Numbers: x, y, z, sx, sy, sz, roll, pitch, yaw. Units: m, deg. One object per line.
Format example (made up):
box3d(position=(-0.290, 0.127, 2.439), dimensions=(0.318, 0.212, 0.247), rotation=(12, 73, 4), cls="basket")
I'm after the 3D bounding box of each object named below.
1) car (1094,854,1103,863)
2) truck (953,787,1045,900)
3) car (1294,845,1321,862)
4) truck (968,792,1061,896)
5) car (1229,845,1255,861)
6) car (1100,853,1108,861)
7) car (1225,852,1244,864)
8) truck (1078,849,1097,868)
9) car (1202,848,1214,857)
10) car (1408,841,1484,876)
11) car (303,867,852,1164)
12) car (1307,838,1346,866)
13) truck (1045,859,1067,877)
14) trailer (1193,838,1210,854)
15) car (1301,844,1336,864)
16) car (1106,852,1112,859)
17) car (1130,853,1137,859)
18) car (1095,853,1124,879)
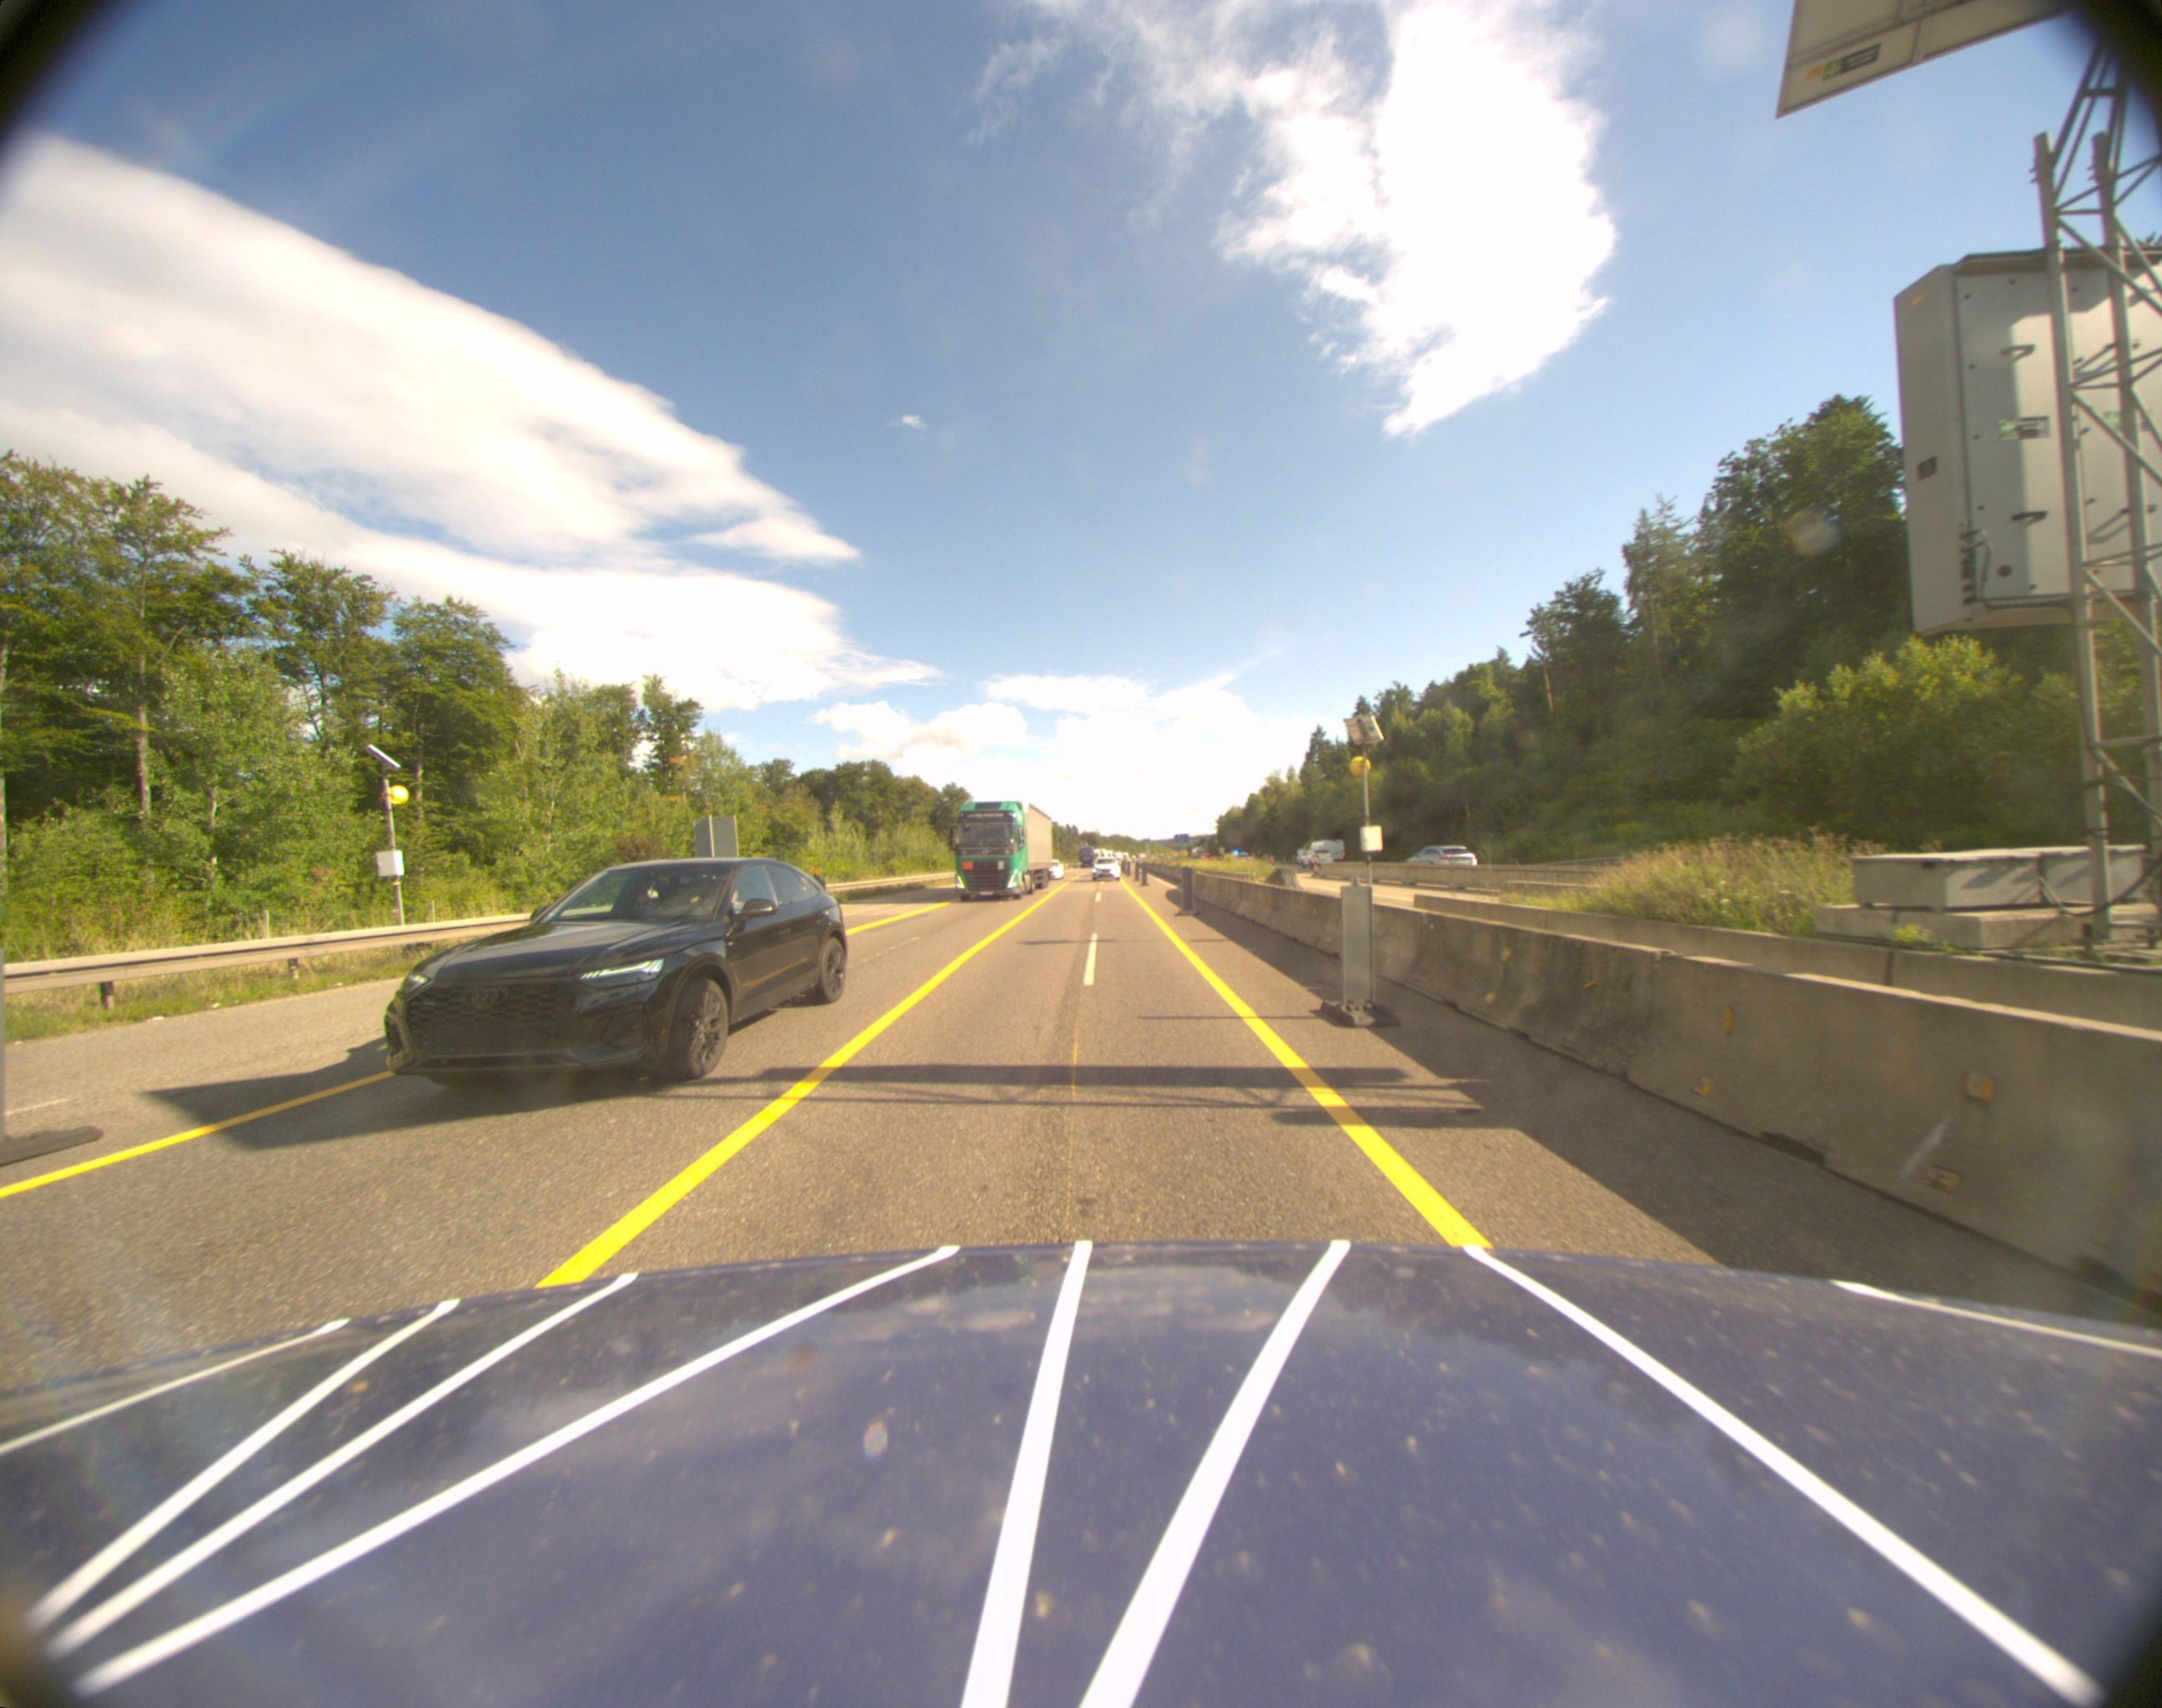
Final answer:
box3d(position=(3.785, 0.963, 164.516), dimensions=(1.750, 1.787, 4.000), rotation=(-2, 0, 3), cls="car")
box3d(position=(-3.185, -0.400, 31.321), dimensions=(2.527, 4.075, 6.857), rotation=(-2, 0, 3), cls="truck")
box3d(position=(25.650, -0.104, 86.268), dimensions=(1.865, 1.843, 4.762), rotation=(-2, 0, 3), cls="car")
box3d(position=(-2.848, -0.351, 37.680), dimensions=(2.470, 4.119, 14.214), rotation=(-2, 0, 3), cls="truck")
box3d(position=(17.167, -0.145, 81.419), dimensions=(1.782, 1.593, 4.676), rotation=(-2, 0, 0), cls="car")
box3d(position=(5.761, 0.765, 188.111), dimensions=(1.750, 1.787, 4.000), rotation=(-2, 0, 3), cls="car")
box3d(position=(22.775, 0.571, 112.735), dimensions=(1.963, 1.579, 4.482), rotation=(-2, 0, 2), cls="car")
box3d(position=(1.108, 0.708, 132.123), dimensions=(2.576, 3.167, 6.804), rotation=(-2, 0, 6), cls="truck")
box3d(position=(24.864, -0.314, 148.558), dimensions=(1.782, 1.593, 4.018), rotation=(-2, 0, 3), cls="car")
box3d(position=(18.328, 0.183, 38.411), dimensions=(1.782, 1.593, 4.677), rotation=(-2, 0, 3), cls="car")
box3d(position=(-3.600, 0.989, 6.605), dimensions=(1.782, 1.593, 4.294), rotation=(-2, 0, 1), cls="car")
box3d(position=(24.483, -0.212, 76.099), dimensions=(2.032, 2.669, 6.524), rotation=(-2, 0, 3), cls="car")
box3d(position=(-1.829, 1.053, 56.675), dimensions=(1.467, 1.215, 3.088), rotation=(-2, 0, 1), cls="truck")
box3d(position=(28.333, -1.834, 179.059), dimensions=(2.808, 3.469, 11.114), rotation=(-2, 0, 3), cls="trailer")
box3d(position=(19.811, -0.006, 63.548), dimensions=(1.782, 1.593, 4.018), rotation=(-2, 0, 3), cls="car")
box3d(position=(8.248, 0.497, 221.333), dimensions=(1.750, 1.787, 4.000), rotation=(-2, 0, 3), cls="car")
box3d(position=(17.208, 0.601, 249.236), dimensions=(1.998, 2.002, 4.001), rotation=(-2, 0, 5), cls="car")
box3d(position=(1.957, 0.777, 50.466), dimensions=(1.782, 1.593, 4.018), rotation=(-2, 0, 3), cls="car")
